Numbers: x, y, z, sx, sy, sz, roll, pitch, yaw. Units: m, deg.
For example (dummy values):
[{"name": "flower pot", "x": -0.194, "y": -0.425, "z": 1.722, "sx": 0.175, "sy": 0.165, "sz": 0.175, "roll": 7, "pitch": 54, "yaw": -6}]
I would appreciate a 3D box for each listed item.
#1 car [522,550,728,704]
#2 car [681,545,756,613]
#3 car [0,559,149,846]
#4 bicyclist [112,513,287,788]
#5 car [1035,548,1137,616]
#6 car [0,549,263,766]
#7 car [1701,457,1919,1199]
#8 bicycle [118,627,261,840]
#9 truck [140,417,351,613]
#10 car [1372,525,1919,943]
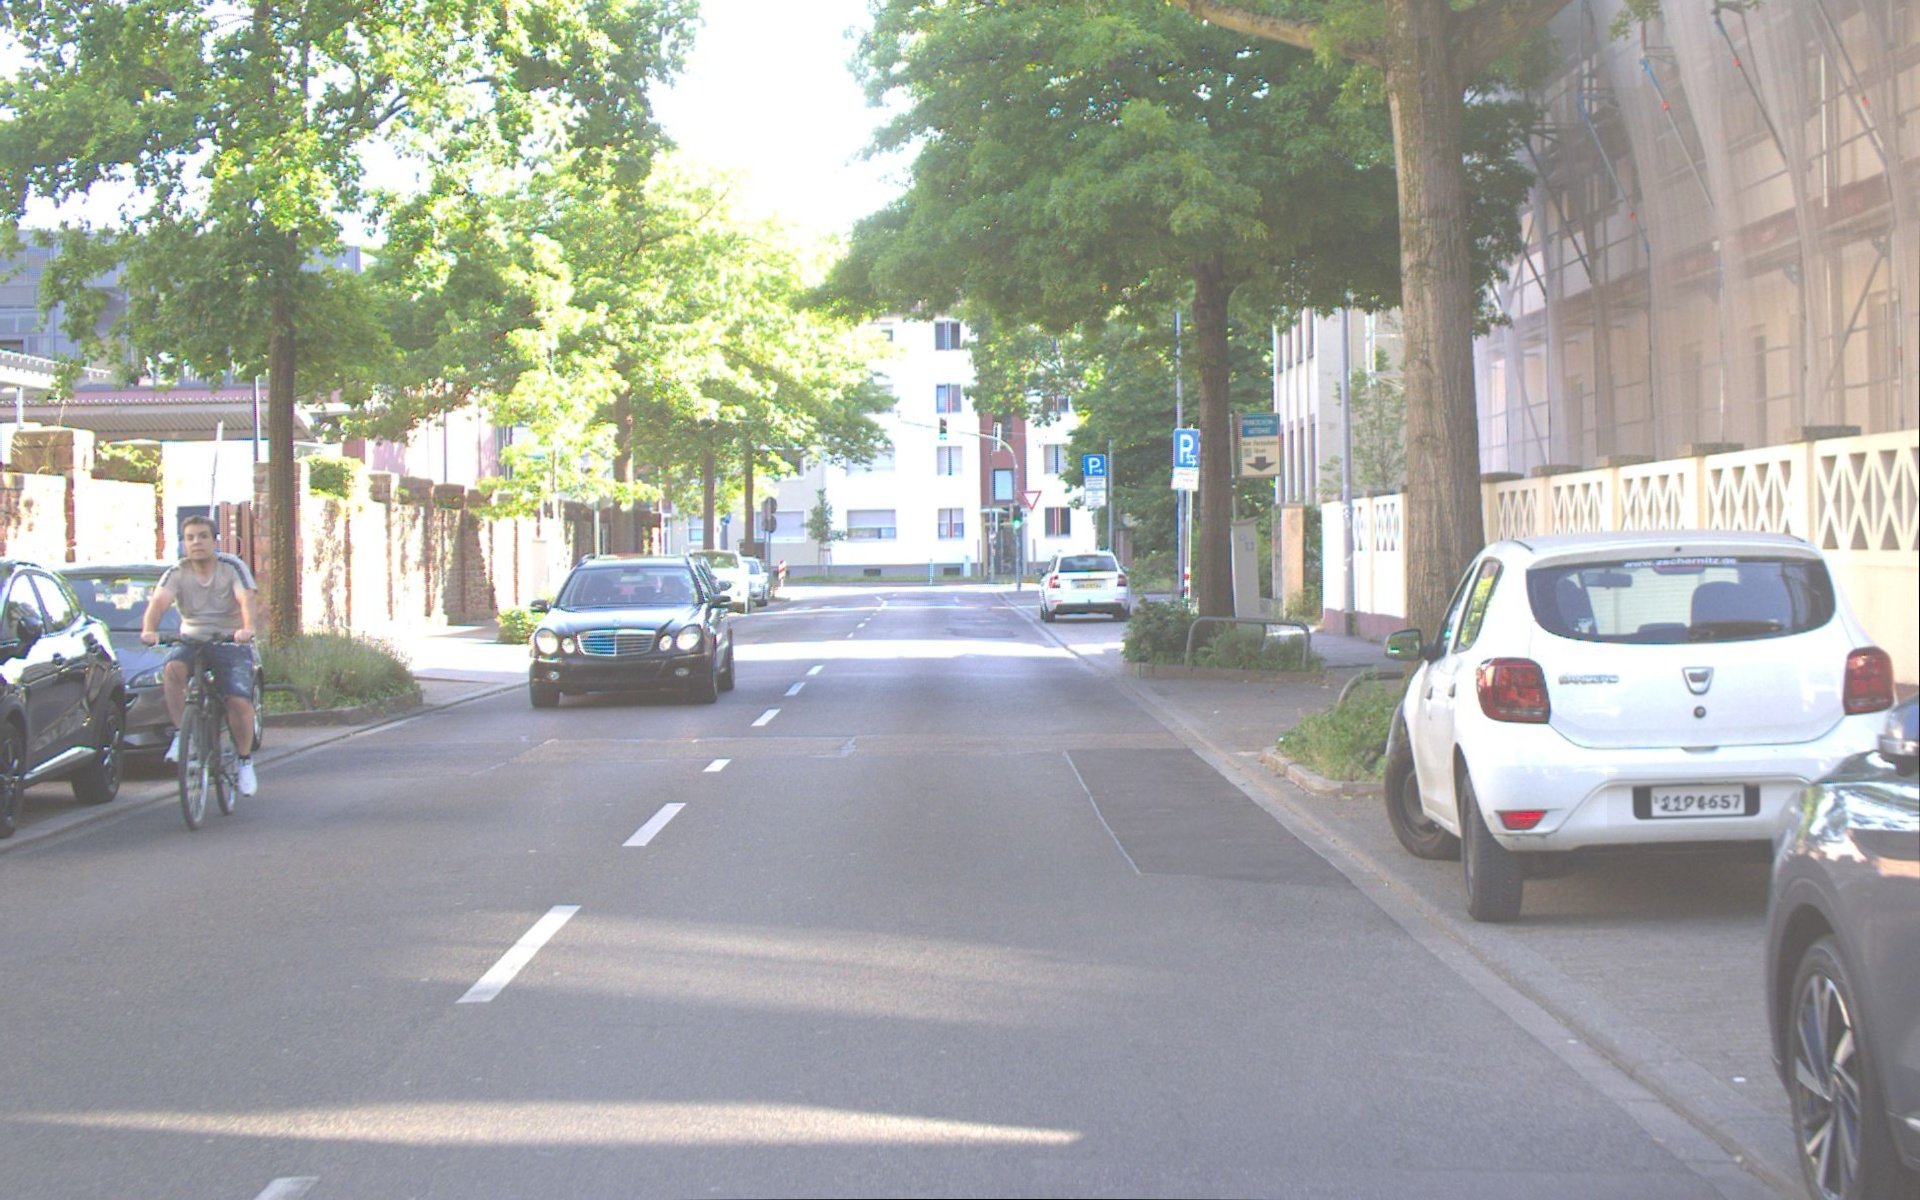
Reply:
[{"name": "car", "x": -3.332, "y": 0.226, "z": 34.800, "sx": 1.821, "sy": 1.431, "sz": 3.970, "roll": -1, "pitch": 1, "yaw": -2}, {"name": "car", "x": -6.164, "y": -0.564, "z": 88.037, "sx": 1.720, "sy": 1.678, "sz": 4.351, "roll": -1, "pitch": 1, "yaw": -2}, {"name": "car", "x": -5.896, "y": 0.525, "z": 19.770, "sx": 1.573, "sy": 1.510, "sz": 4.045, "roll": 0, "pitch": 1, "yaw": -1}, {"name": "bicyclist", "x": -4.343, "y": 0.277, "z": 19.681, "sx": 0.721, "sy": 1.517, "sz": 1.005, "roll": 1, "pitch": 1, "yaw": 3}, {"name": "car", "x": 2.576, "y": -0.388, "z": 71.193, "sx": 1.832, "sy": 1.318, "sz": 4.496, "roll": -1, "pitch": 1, "yaw": -1}, {"name": "car", "x": -6.142, "y": 0.358, "z": 24.844, "sx": 1.686, "sy": 1.417, "sz": 3.839, "roll": 1, "pitch": 1, "yaw": -5}, {"name": "car", "x": 2.732, "y": 0.538, "z": 6.167, "sx": 1.712, "sy": 1.632, "sz": 4.303, "roll": -1, "pitch": 1, "yaw": -2}, {"name": "bicycle", "x": -4.394, "y": 0.735, "z": 19.696, "sx": 0.357, "sy": 1.117, "sz": 1.866, "roll": 1, "pitch": 1, "yaw": 1}, {"name": "truck", "x": -14.316, "y": -1.670, "z": 69.412, "sx": 2.732, "sy": 3.698, "sz": 7.428, "roll": 1, "pitch": 1, "yaw": -1}, {"name": "car", "x": 2.812, "y": 0.461, "z": 14.816, "sx": 1.724, "sy": 1.505, "sz": 3.991, "roll": -2, "pitch": 1, "yaw": 3}]
